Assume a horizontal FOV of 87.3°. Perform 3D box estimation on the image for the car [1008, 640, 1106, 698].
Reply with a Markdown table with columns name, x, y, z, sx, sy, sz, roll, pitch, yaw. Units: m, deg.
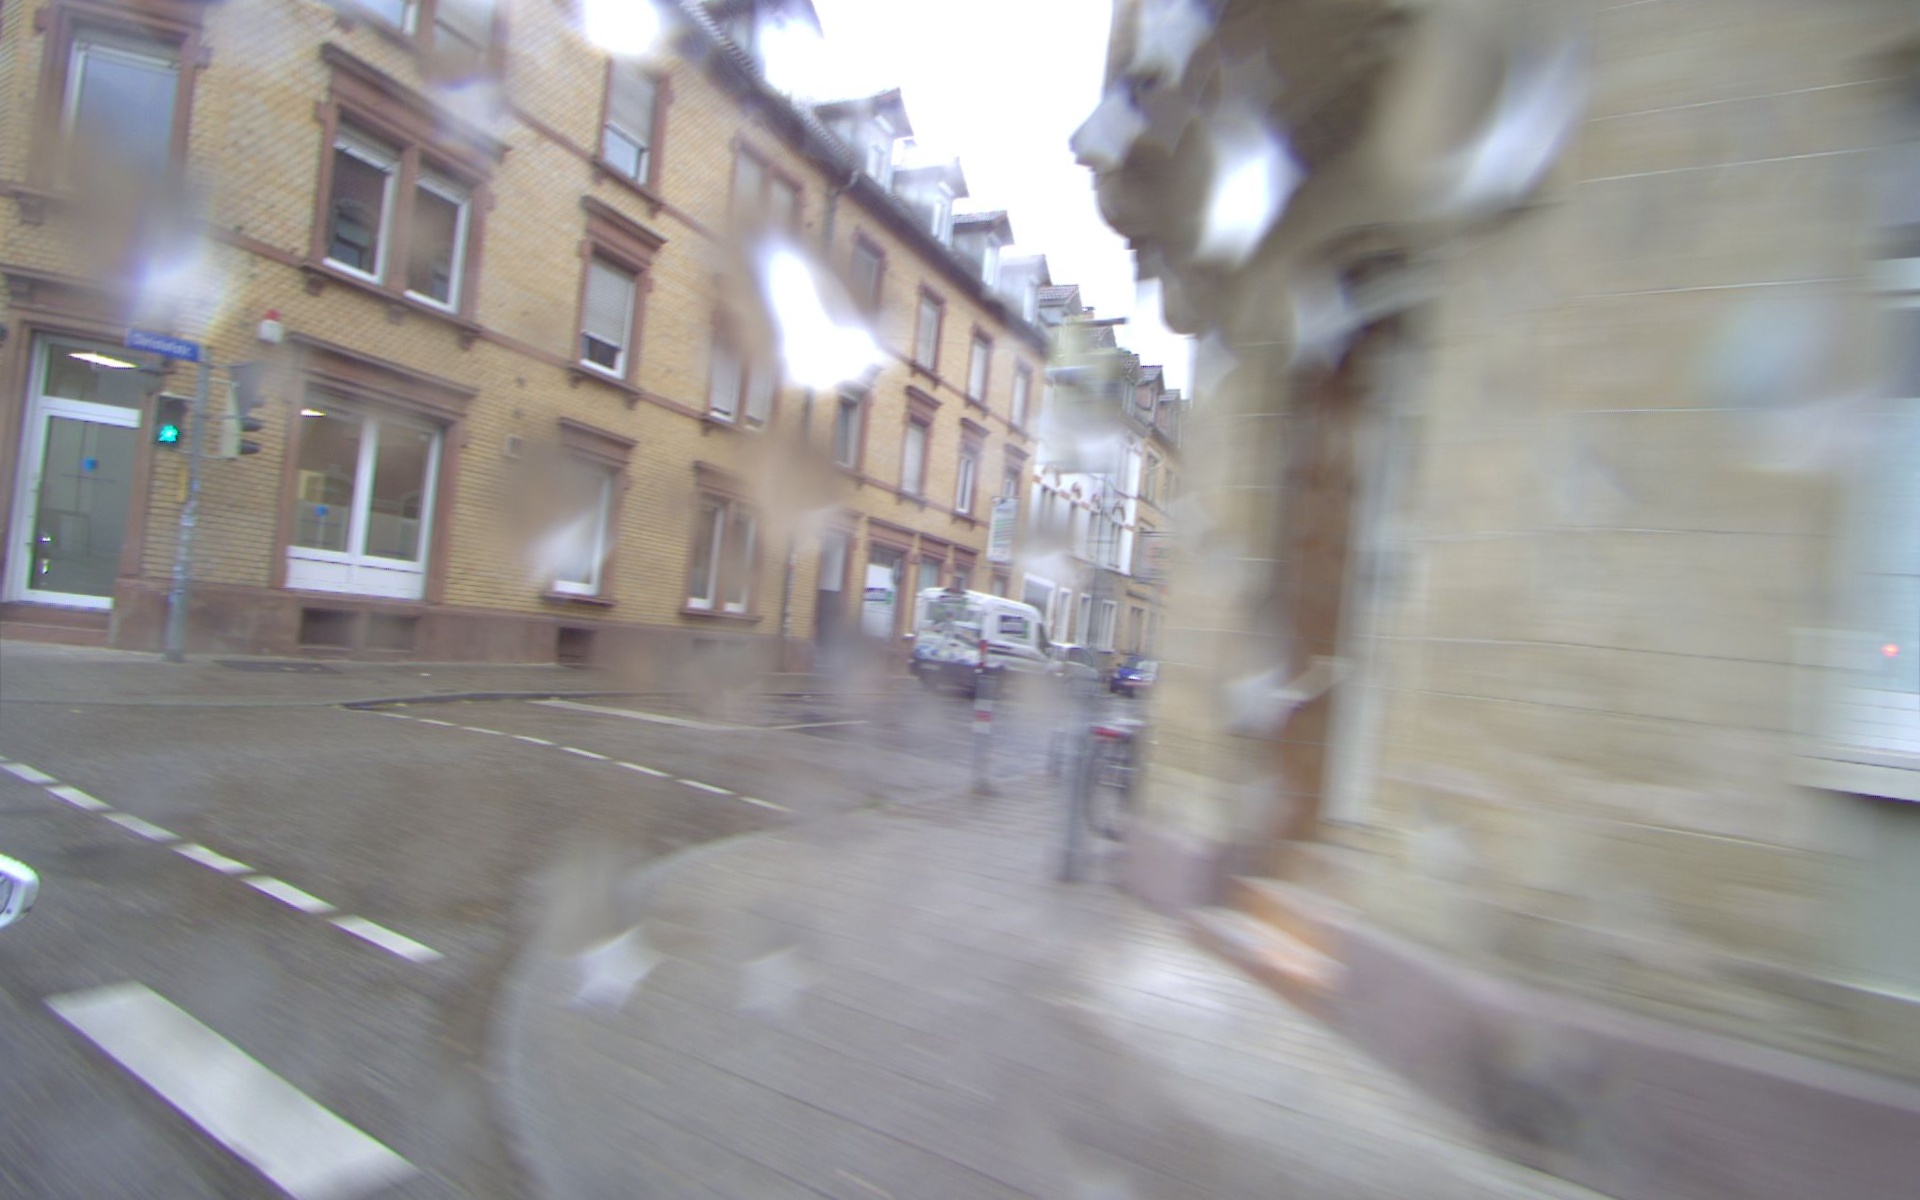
| name | x | y | z | sx | sy | sz | roll | pitch | yaw |
| --- | --- | --- | --- | --- | --- | --- | --- | --- | --- |
| car | 3.019 | 2.139 | 30.689 | 1.762 | 1.551 | 3.739 | 2 | -4 | 25 |

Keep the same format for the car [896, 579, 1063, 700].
| name | x | y | z | sx | sy | sz | roll | pitch | yaw |
| --- | --- | --- | --- | --- | --- | --- | --- | --- | --- |
| car | 0.631 | 1.087 | 25.152 | 2.085 | 2.541 | 4.746 | 6 | -2 | 27 |

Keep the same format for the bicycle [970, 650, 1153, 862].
| name | x | y | z | sx | sy | sz | roll | pitch | yaw |
| --- | --- | --- | --- | --- | --- | --- | --- | --- | --- |
| bicycle | 0.776 | 1.058 | 7.111 | 0.666 | 1.235 | 1.693 | 6 | -3 | 25 |

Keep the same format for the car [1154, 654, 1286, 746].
| name | x | y | z | sx | sy | sz | roll | pitch | yaw |
| --- | --- | --- | --- | --- | --- | --- | --- | --- | --- |
| car | 5.231 | 1.953 | 19.864 | 1.762 | 1.508 | 4.015 | 2 | -4 | 25 |

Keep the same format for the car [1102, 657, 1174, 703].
| name | x | y | z | sx | sy | sz | roll | pitch | yaw |
| --- | --- | --- | --- | --- | --- | --- | --- | --- | --- |
| car | 6.858 | 3.090 | 38.514 | 1.762 | 1.551 | 3.739 | 2 | -4 | 25 |
